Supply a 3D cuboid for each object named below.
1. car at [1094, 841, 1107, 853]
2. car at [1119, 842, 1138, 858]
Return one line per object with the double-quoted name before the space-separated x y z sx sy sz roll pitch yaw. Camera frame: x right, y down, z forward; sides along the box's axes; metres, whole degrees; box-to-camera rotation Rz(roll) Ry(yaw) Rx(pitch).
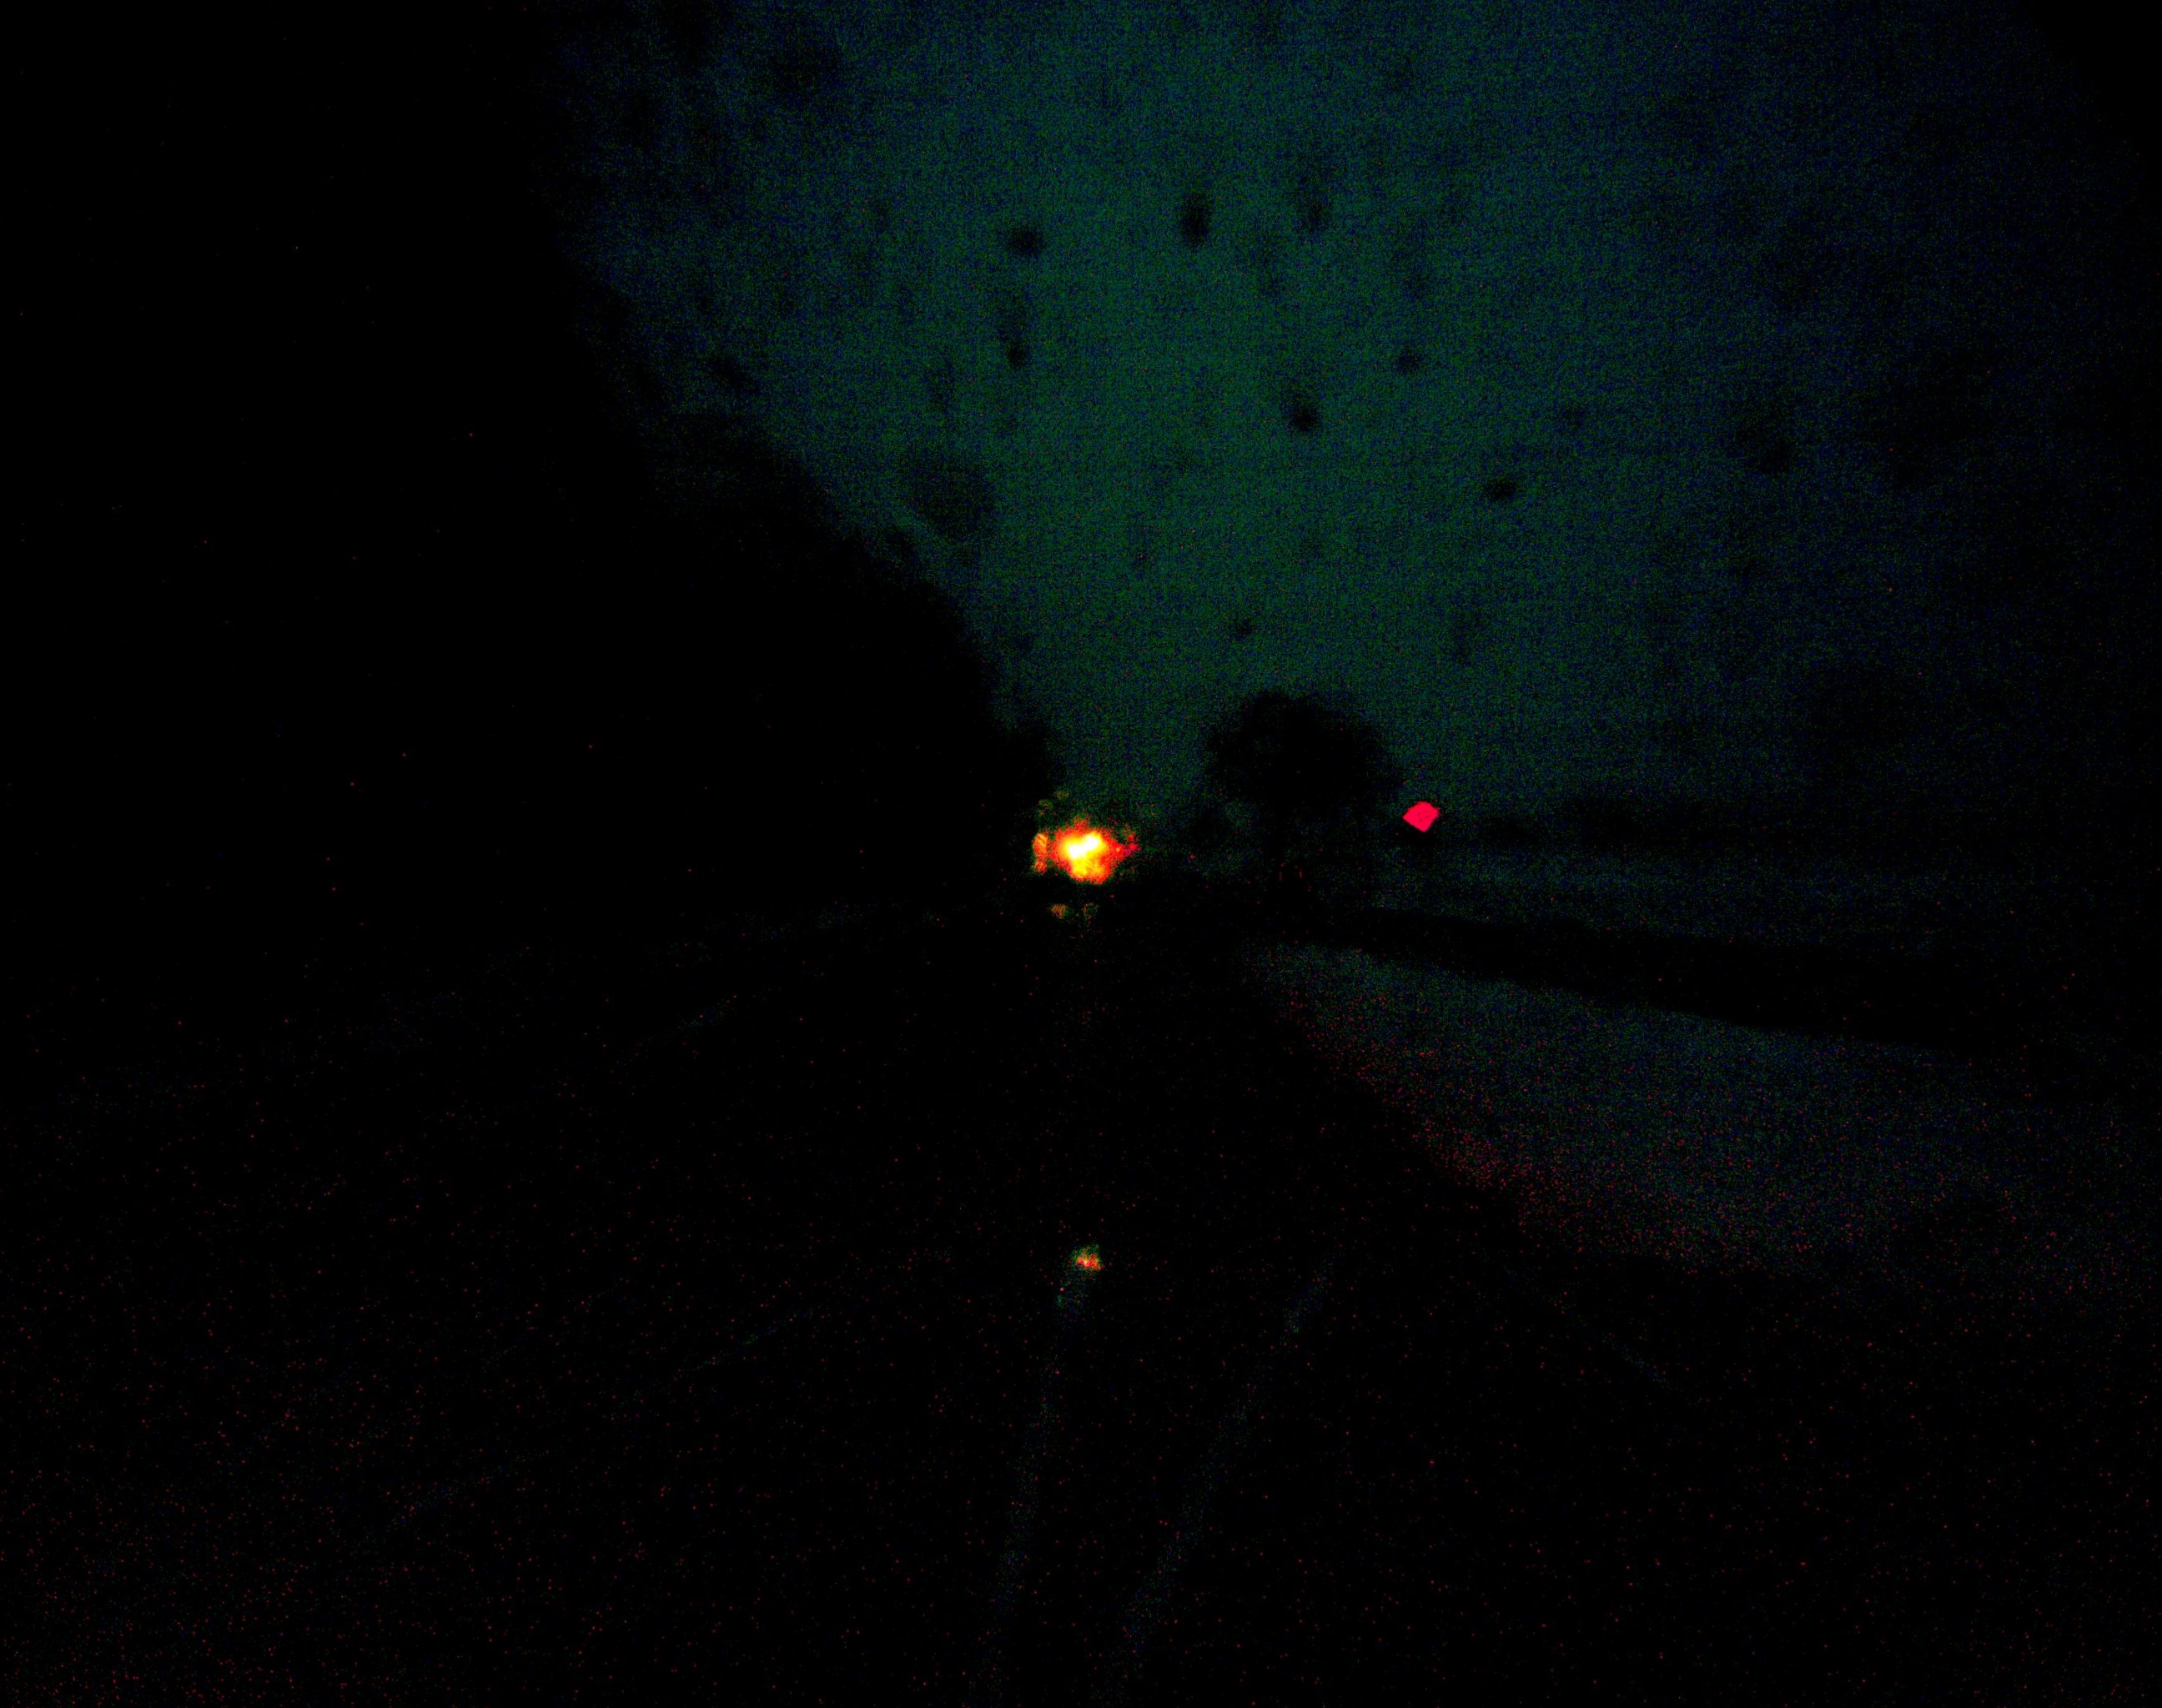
"car" 3.228 -1.161 127.266 1.998 1.796 3.999 -1 1 1
"car" 5.646 -0.490 91.037 1.998 1.796 3.999 -1 1 1
